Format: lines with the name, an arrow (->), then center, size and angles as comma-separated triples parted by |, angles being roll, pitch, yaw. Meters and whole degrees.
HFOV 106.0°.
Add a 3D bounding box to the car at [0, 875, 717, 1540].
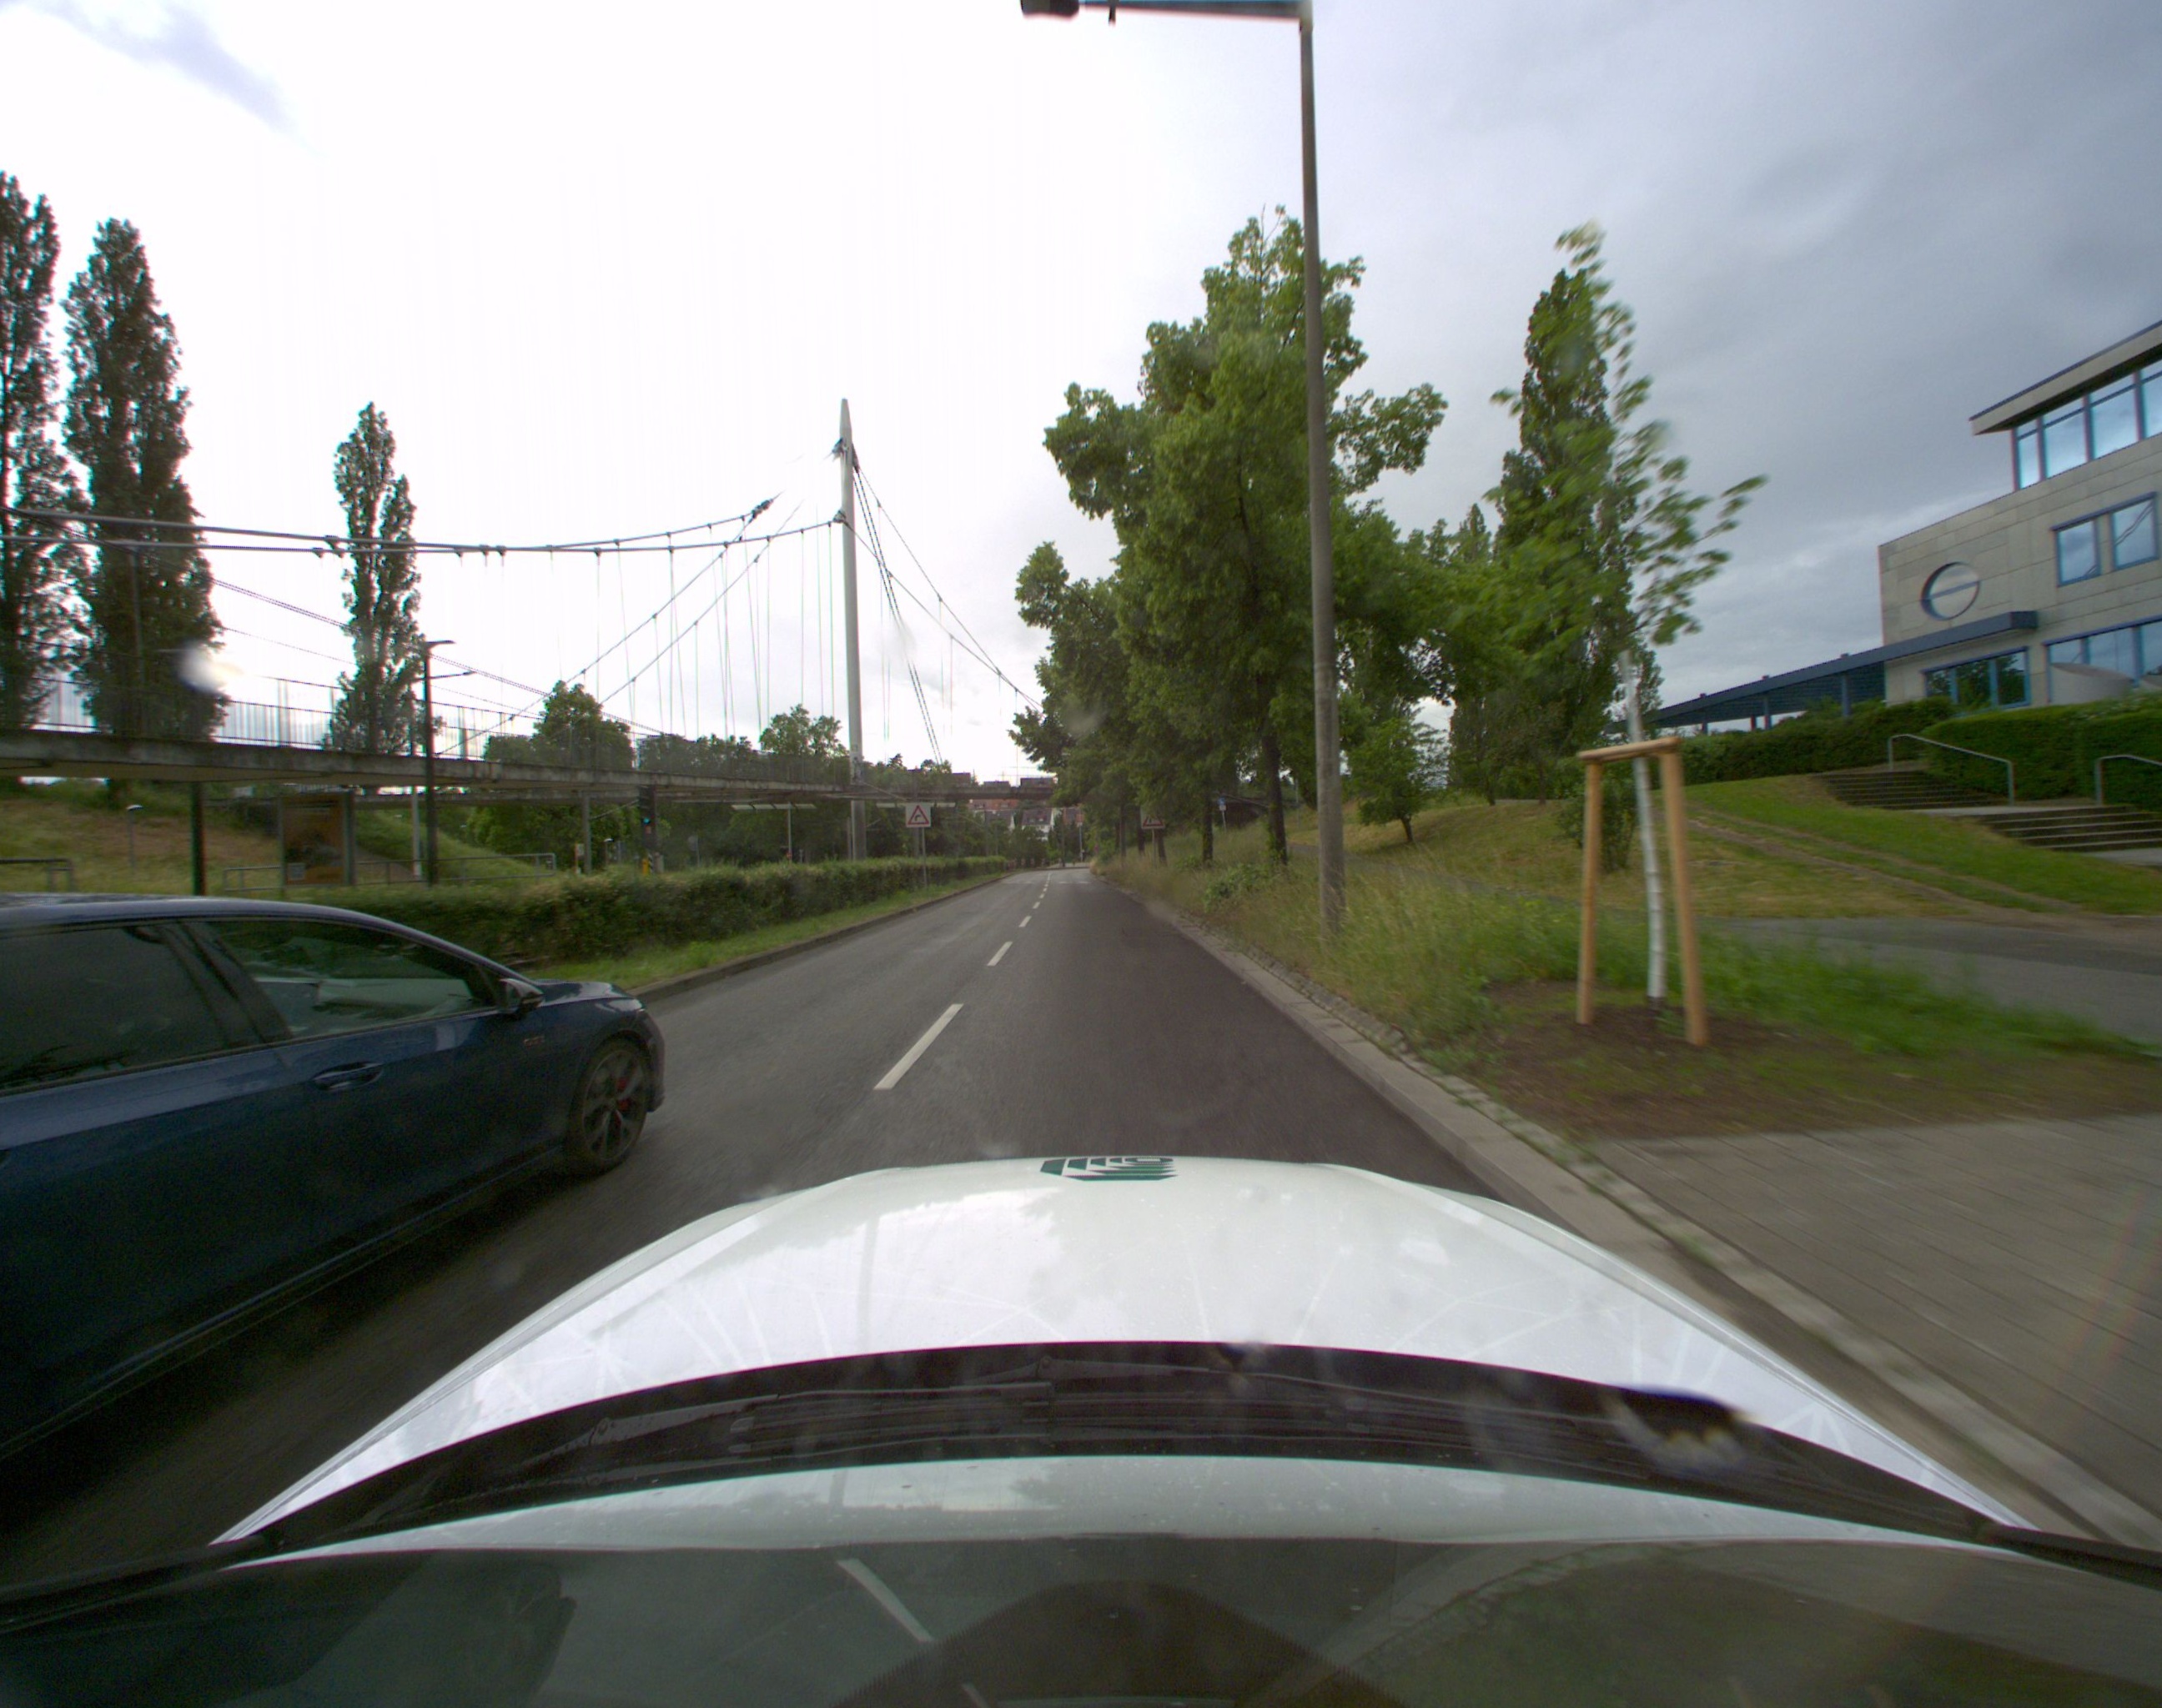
car -> -3.207, 0.813, 2.831 | 1.801, 1.378, 4.349 | -1, 0, 2
